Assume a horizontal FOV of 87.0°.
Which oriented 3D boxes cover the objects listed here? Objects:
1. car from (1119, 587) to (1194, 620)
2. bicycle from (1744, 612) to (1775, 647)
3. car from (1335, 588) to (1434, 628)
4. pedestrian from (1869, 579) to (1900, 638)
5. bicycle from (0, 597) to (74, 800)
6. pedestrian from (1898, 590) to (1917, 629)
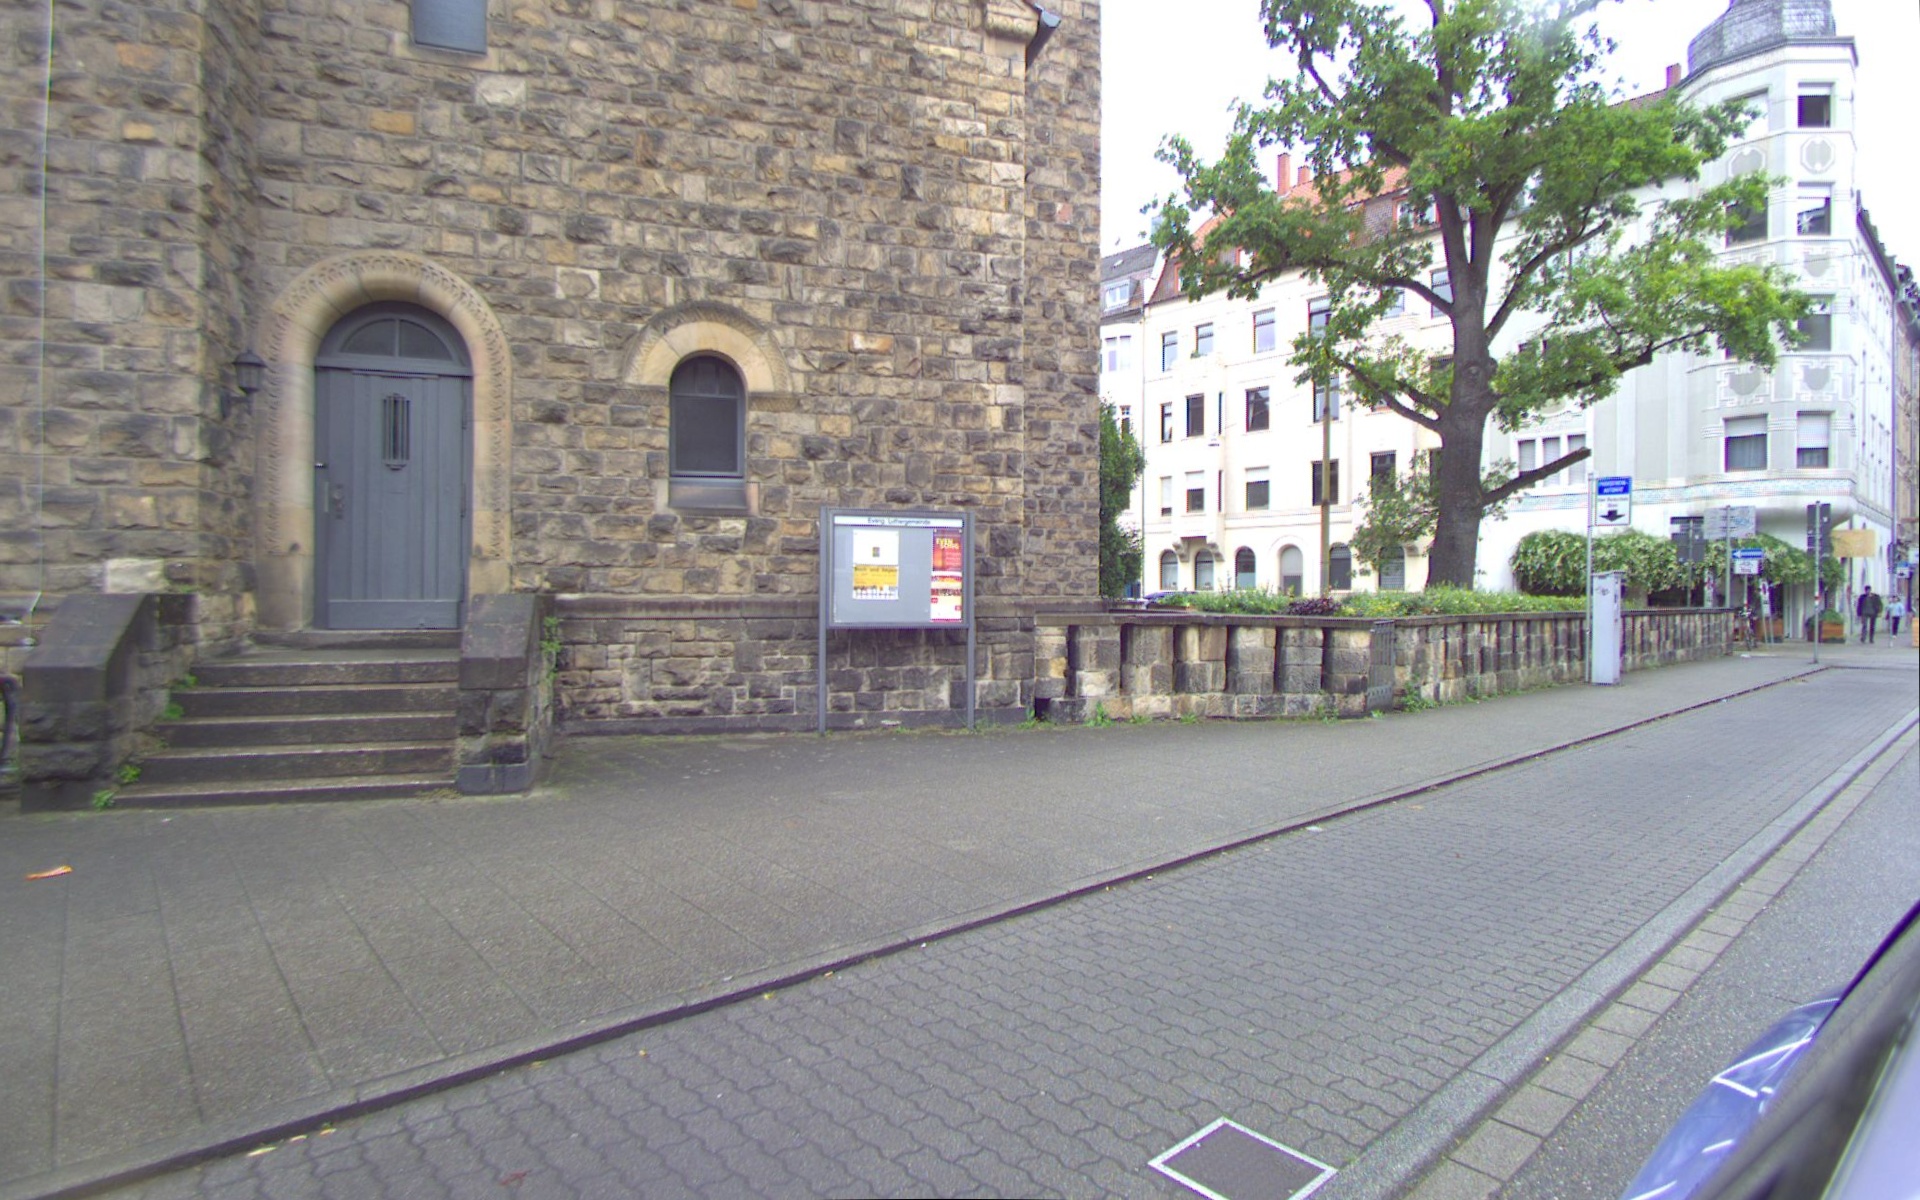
[{"bbox_3d":[9.104,0.125,47.007,1.421,1.427,3.271,0,1,-38],"label":"car"},{"bbox_3d":[24.027,0.876,30.394,1.990,0.904,0.390,-3,3,-42],"label":"bicycle"},{"bbox_3d":[16.517,0.284,39.487,1.421,1.427,3.271,0,1,-38],"label":"car"},{"bbox_3d":[29.917,0.271,32.735,0.681,1.896,0.645,0,1,-42],"label":"pedestrian"},{"bbox_3d":[-5.597,0.559,5.634,0.502,1.067,1.994,0,2,-26],"label":"bicycle"},{"bbox_3d":[36.241,0.370,38.695,0.385,1.479,0.481,0,1,-41],"label":"pedestrian"}]
